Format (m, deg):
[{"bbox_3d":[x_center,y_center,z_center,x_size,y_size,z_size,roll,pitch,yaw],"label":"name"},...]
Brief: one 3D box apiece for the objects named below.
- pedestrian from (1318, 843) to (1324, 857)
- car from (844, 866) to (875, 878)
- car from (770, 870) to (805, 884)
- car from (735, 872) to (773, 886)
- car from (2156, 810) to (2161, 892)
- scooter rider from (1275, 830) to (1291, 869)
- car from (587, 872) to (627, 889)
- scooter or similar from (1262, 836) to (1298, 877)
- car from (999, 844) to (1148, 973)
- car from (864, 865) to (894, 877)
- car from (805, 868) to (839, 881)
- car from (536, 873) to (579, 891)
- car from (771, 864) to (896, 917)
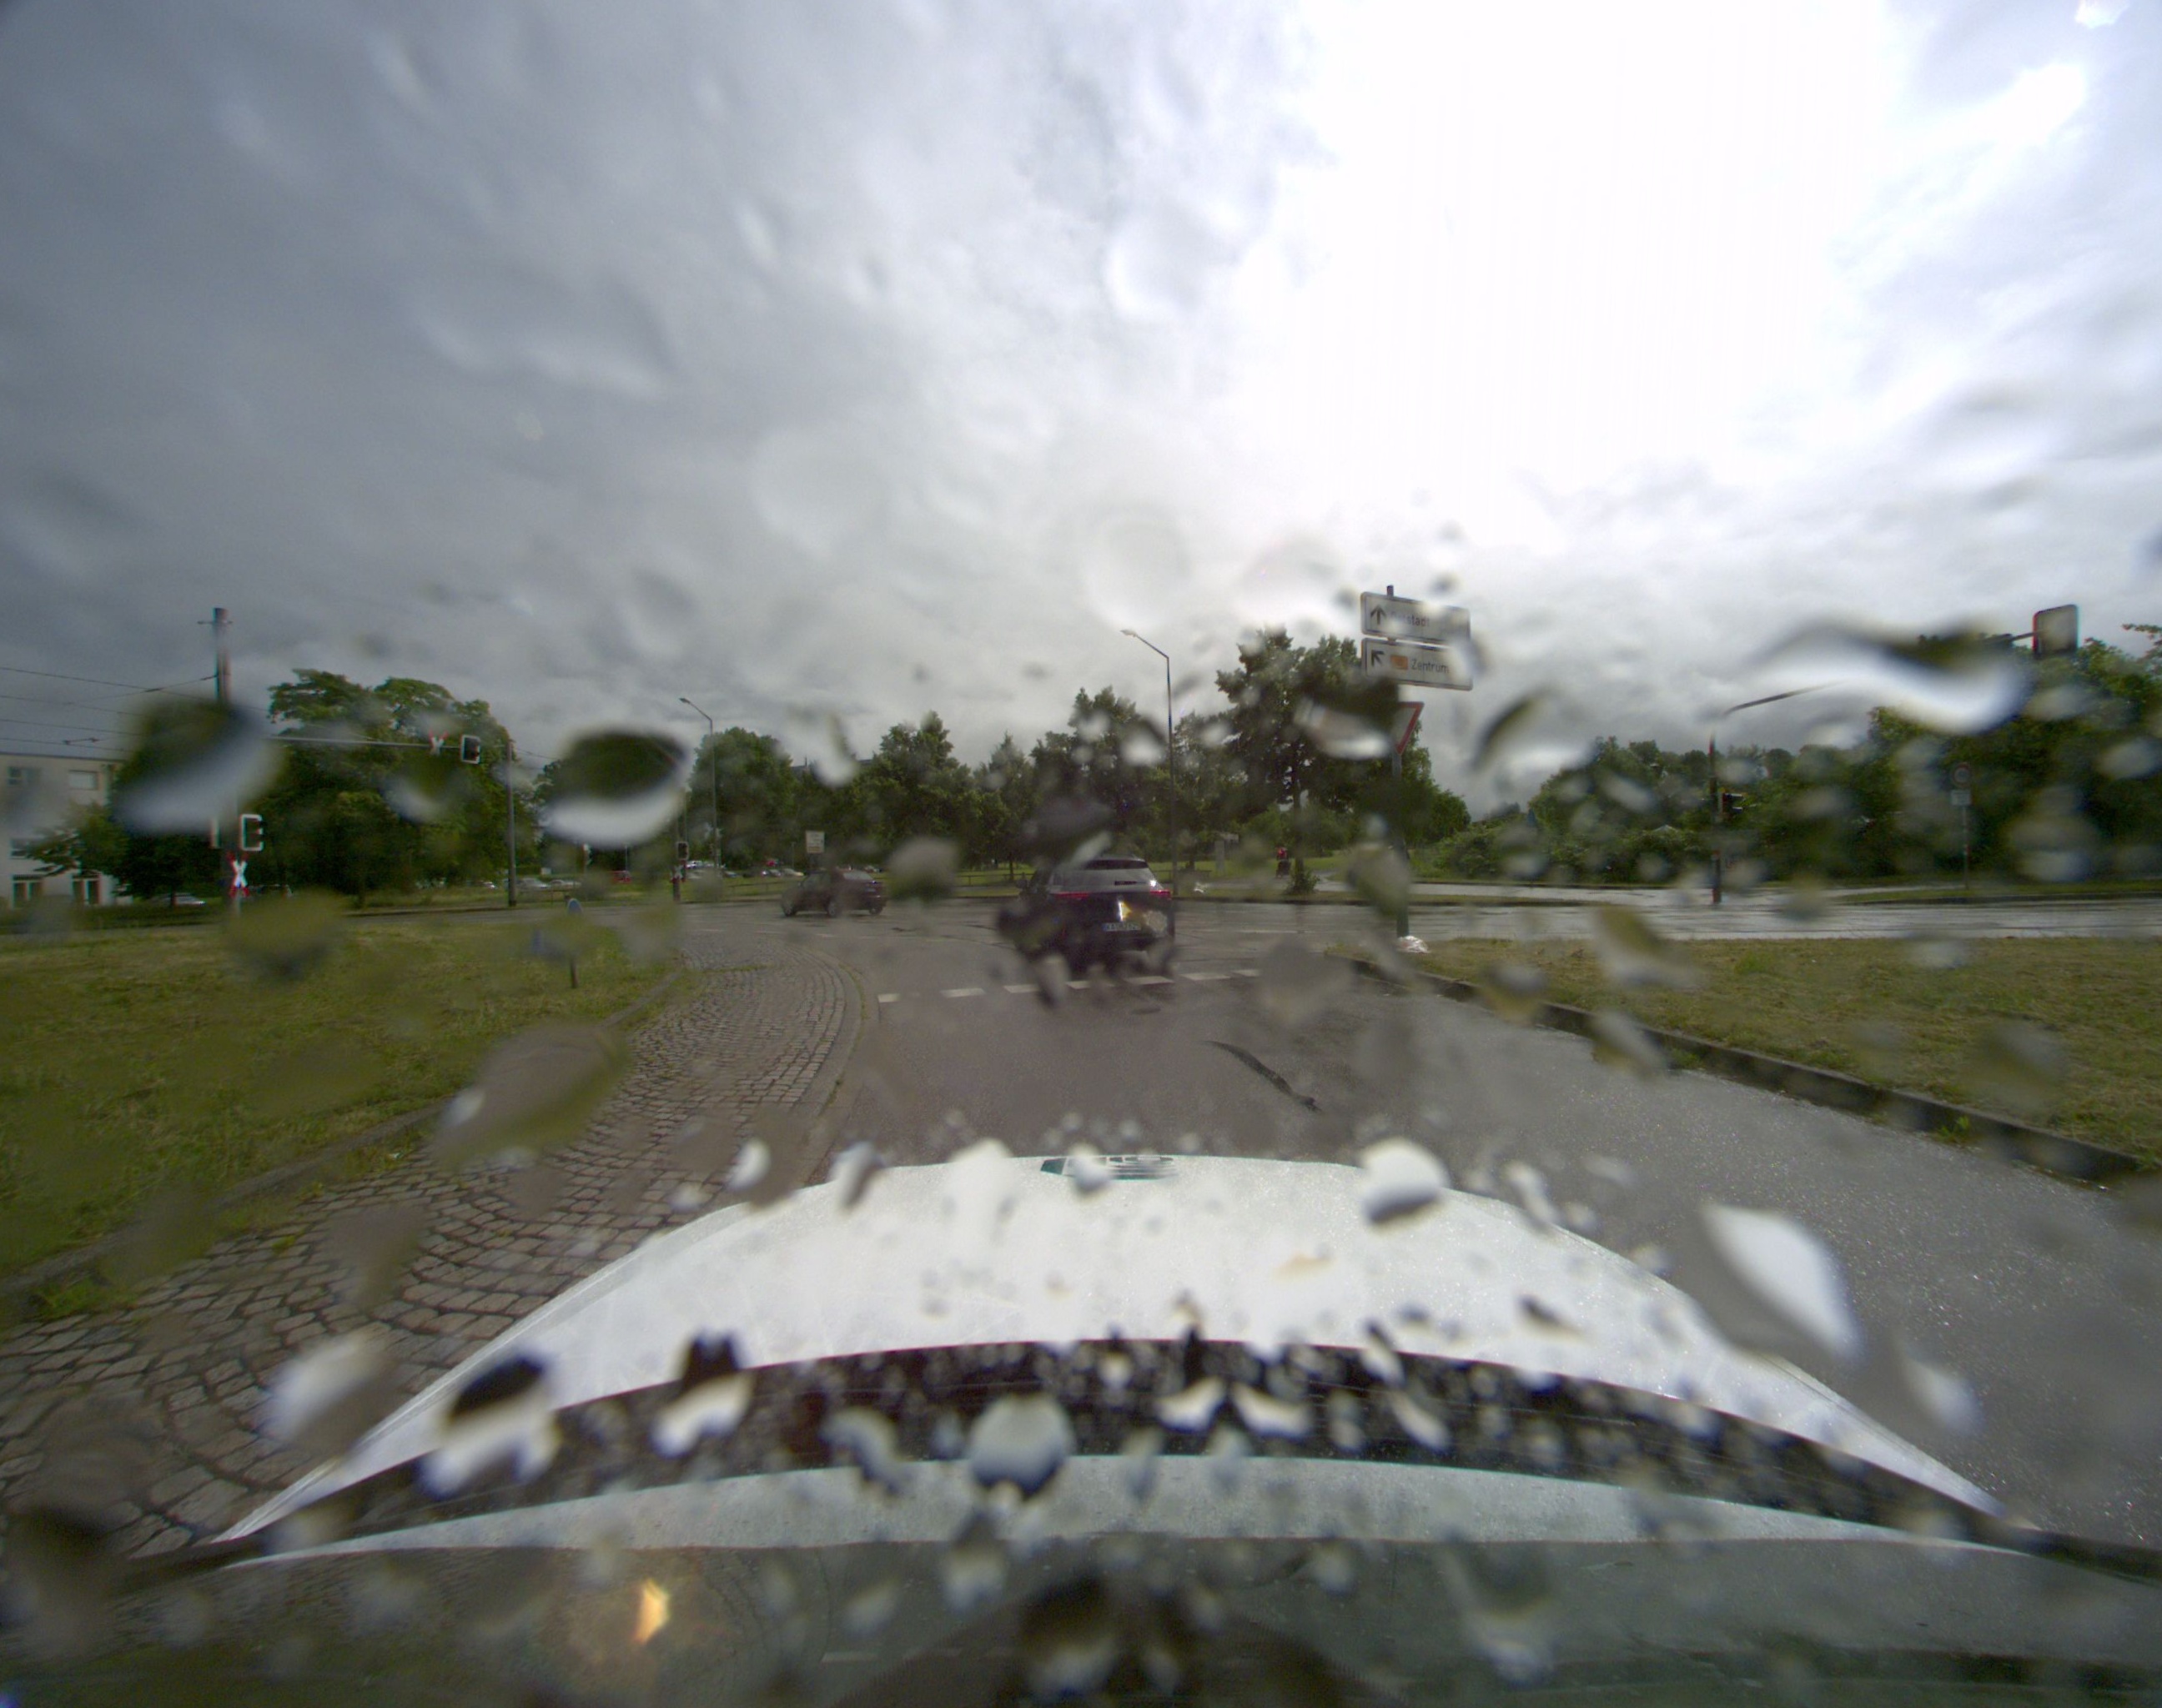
[{"bbox_3d":[30.886,-0.485,104.993,0.592,1.732,0.609,-2,-2,29],"label":"pedestrian"},{"bbox_3d":[-31.765,2.613,116.875,3.931,1.559,1.860,-3,0,22],"label":"car"},{"bbox_3d":[-37.296,2.897,103.513,3.931,1.559,1.860,-3,0,22],"label":"car"},{"bbox_3d":[-39.557,3.015,98.461,3.931,1.559,1.860,-3,0,22],"label":"car"},{"bbox_3d":[28.827,-0.128,19.211,4.780,1.987,2.074,-1,0,-7],"label":"car"},{"bbox_3d":[10.788,-0.229,43.509,0.698,2.014,0.774,-2,-2,20],"label":"scooter rider"},{"bbox_3d":[-46.782,2.574,80.324,3.604,1.510,1.660,-2,0,27],"label":"car"},{"bbox_3d":[10.403,0.176,42.515,1.225,2.014,3.427,-2,-2,23],"label":"scooter or similar"},{"bbox_3d":[-0.248,0.708,12.419,1.894,1.618,3.993,0,0,-5],"label":"car"},{"bbox_3d":[-30.018,2.531,121.236,3.931,1.559,1.860,-3,0,22],"label":"car"},{"bbox_3d":[-34.960,2.781,109.912,3.931,1.559,1.860,-3,0,22],"label":"car"},{"bbox_3d":[-48.594,2.606,75.567,3.566,1.462,1.655,-2,0,24],"label":"car"},{"bbox_3d":[-7.700,1.076,25.205,3.948,1.462,1.731,-1,1,39],"label":"car"}]
